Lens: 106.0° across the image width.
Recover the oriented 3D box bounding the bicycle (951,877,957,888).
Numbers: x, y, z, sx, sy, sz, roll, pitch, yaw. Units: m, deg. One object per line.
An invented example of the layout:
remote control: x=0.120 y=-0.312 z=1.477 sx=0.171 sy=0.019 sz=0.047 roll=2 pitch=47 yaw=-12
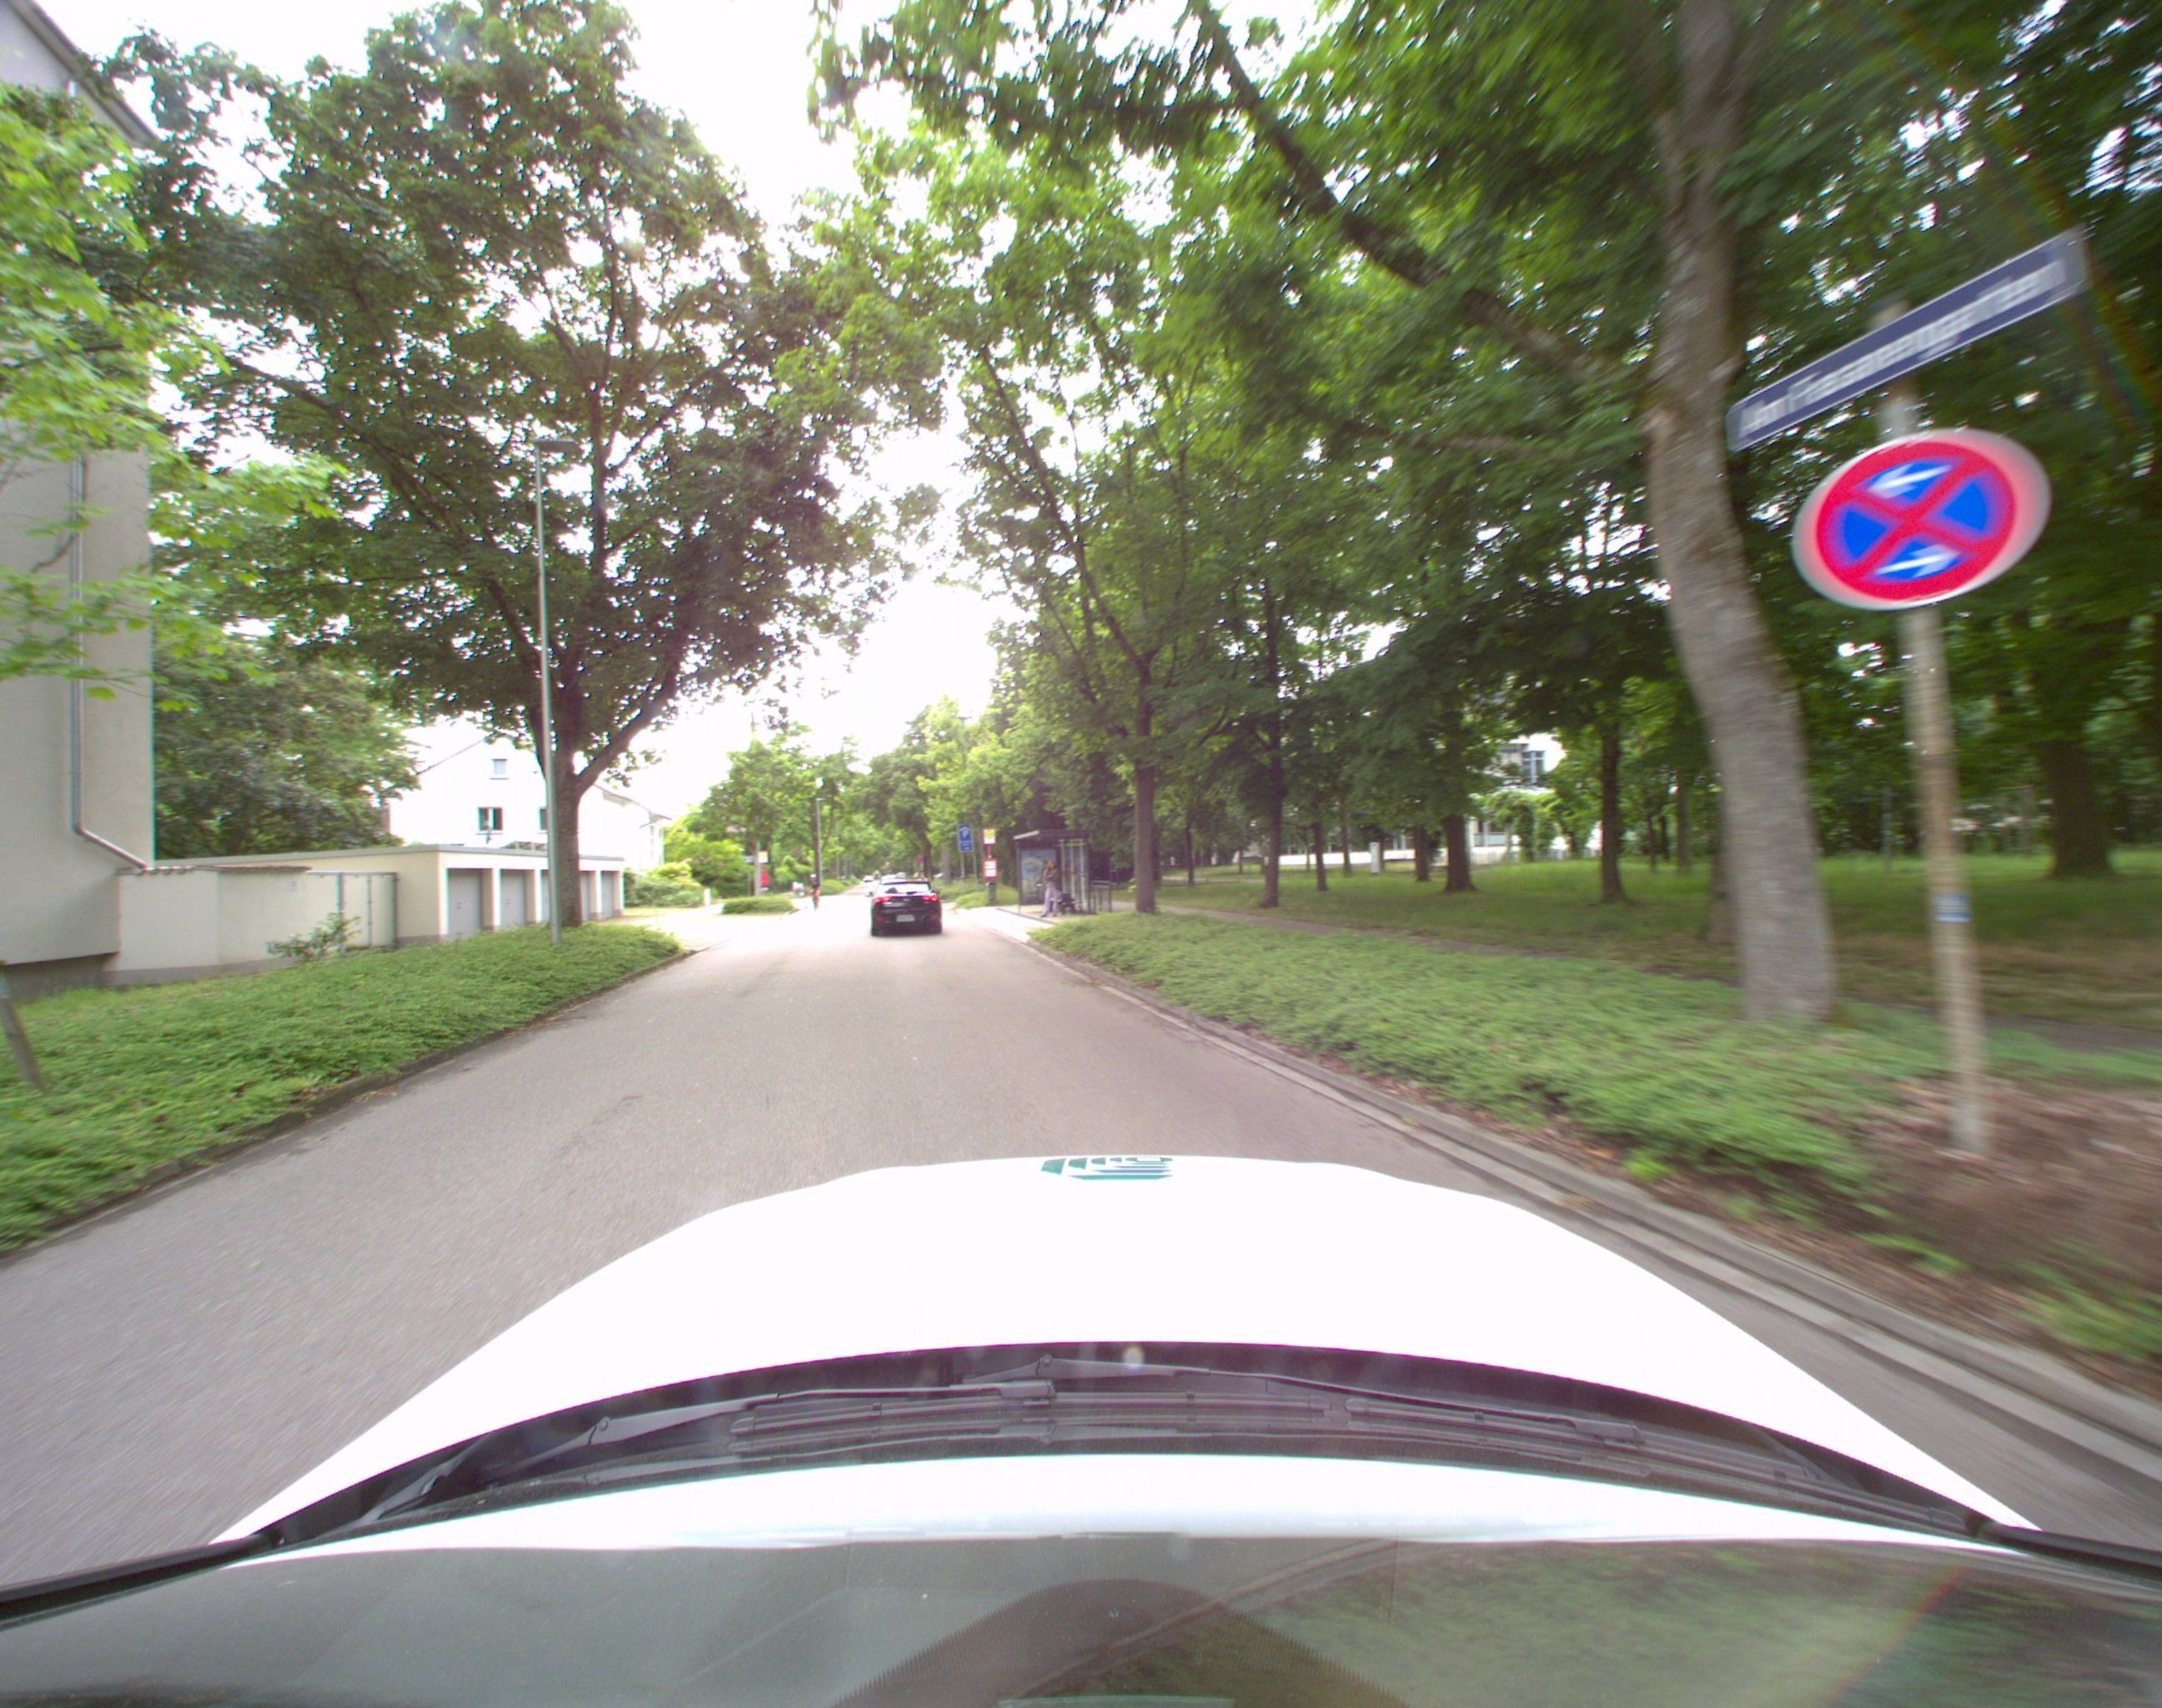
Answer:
bicycle: x=-12.042 y=2.730 z=77.075 sx=0.491 sy=0.975 sz=1.939 roll=-3 pitch=-1 yaw=-7

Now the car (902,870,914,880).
car: x=-39.164 y=4.723 z=184.009 sx=2.001 sy=2.013 sz=3.972 roll=-3 pitch=-1 yaw=-21

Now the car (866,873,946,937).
car: x=-4.719 y=1.266 z=21.596 sx=1.849 sy=1.462 sz=3.807 roll=-2 pitch=-1 yaw=-15

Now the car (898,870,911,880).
car: x=-38.321 y=4.572 z=176.645 sx=2.001 sy=2.013 sz=3.971 roll=-3 pitch=-1 yaw=-21

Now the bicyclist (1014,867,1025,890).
bicyclist: x=-3.879 y=1.559 z=51.183 sx=0.596 sy=1.409 sz=0.756 roll=-3 pitch=-1 yaw=-7

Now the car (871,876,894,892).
car: x=-19.823 y=2.974 z=81.236 sx=1.869 sy=1.462 sz=4.092 roll=-2 pitch=-1 yaw=-17

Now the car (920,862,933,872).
car: x=-33.838 y=2.875 z=178.629 sx=2.001 sy=2.013 sz=3.971 roll=-3 pitch=-1 yaw=-21

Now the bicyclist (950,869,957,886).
bicyclist: x=-12.067 y=2.230 z=77.041 sx=0.534 sy=1.549 sz=0.756 roll=-3 pitch=-1 yaw=-7

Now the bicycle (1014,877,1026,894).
bicycle: x=-3.833 y=1.967 z=50.998 sx=0.607 sy=0.975 sz=1.939 roll=-3 pitch=-1 yaw=-7

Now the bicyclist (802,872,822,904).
bicyclist: x=-13.203 y=1.656 z=40.000 sx=0.785 sy=1.469 sz=0.933 roll=-3 pitch=-1 yaw=-13

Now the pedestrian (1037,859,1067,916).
pedestrian: x=-0.848 y=0.963 z=23.509 sx=0.655 sy=1.583 sz=0.695 roll=-3 pitch=-1 yaw=-14

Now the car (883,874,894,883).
car: x=-36.998 y=4.680 z=156.650 sx=1.997 sy=1.486 sz=3.980 roll=-3 pitch=-1 yaw=-14

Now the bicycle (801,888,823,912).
bicycle: x=-13.154 y=2.248 z=39.880 sx=0.795 sy=1.025 sz=2.552 roll=-3 pitch=-1 yaw=-13
